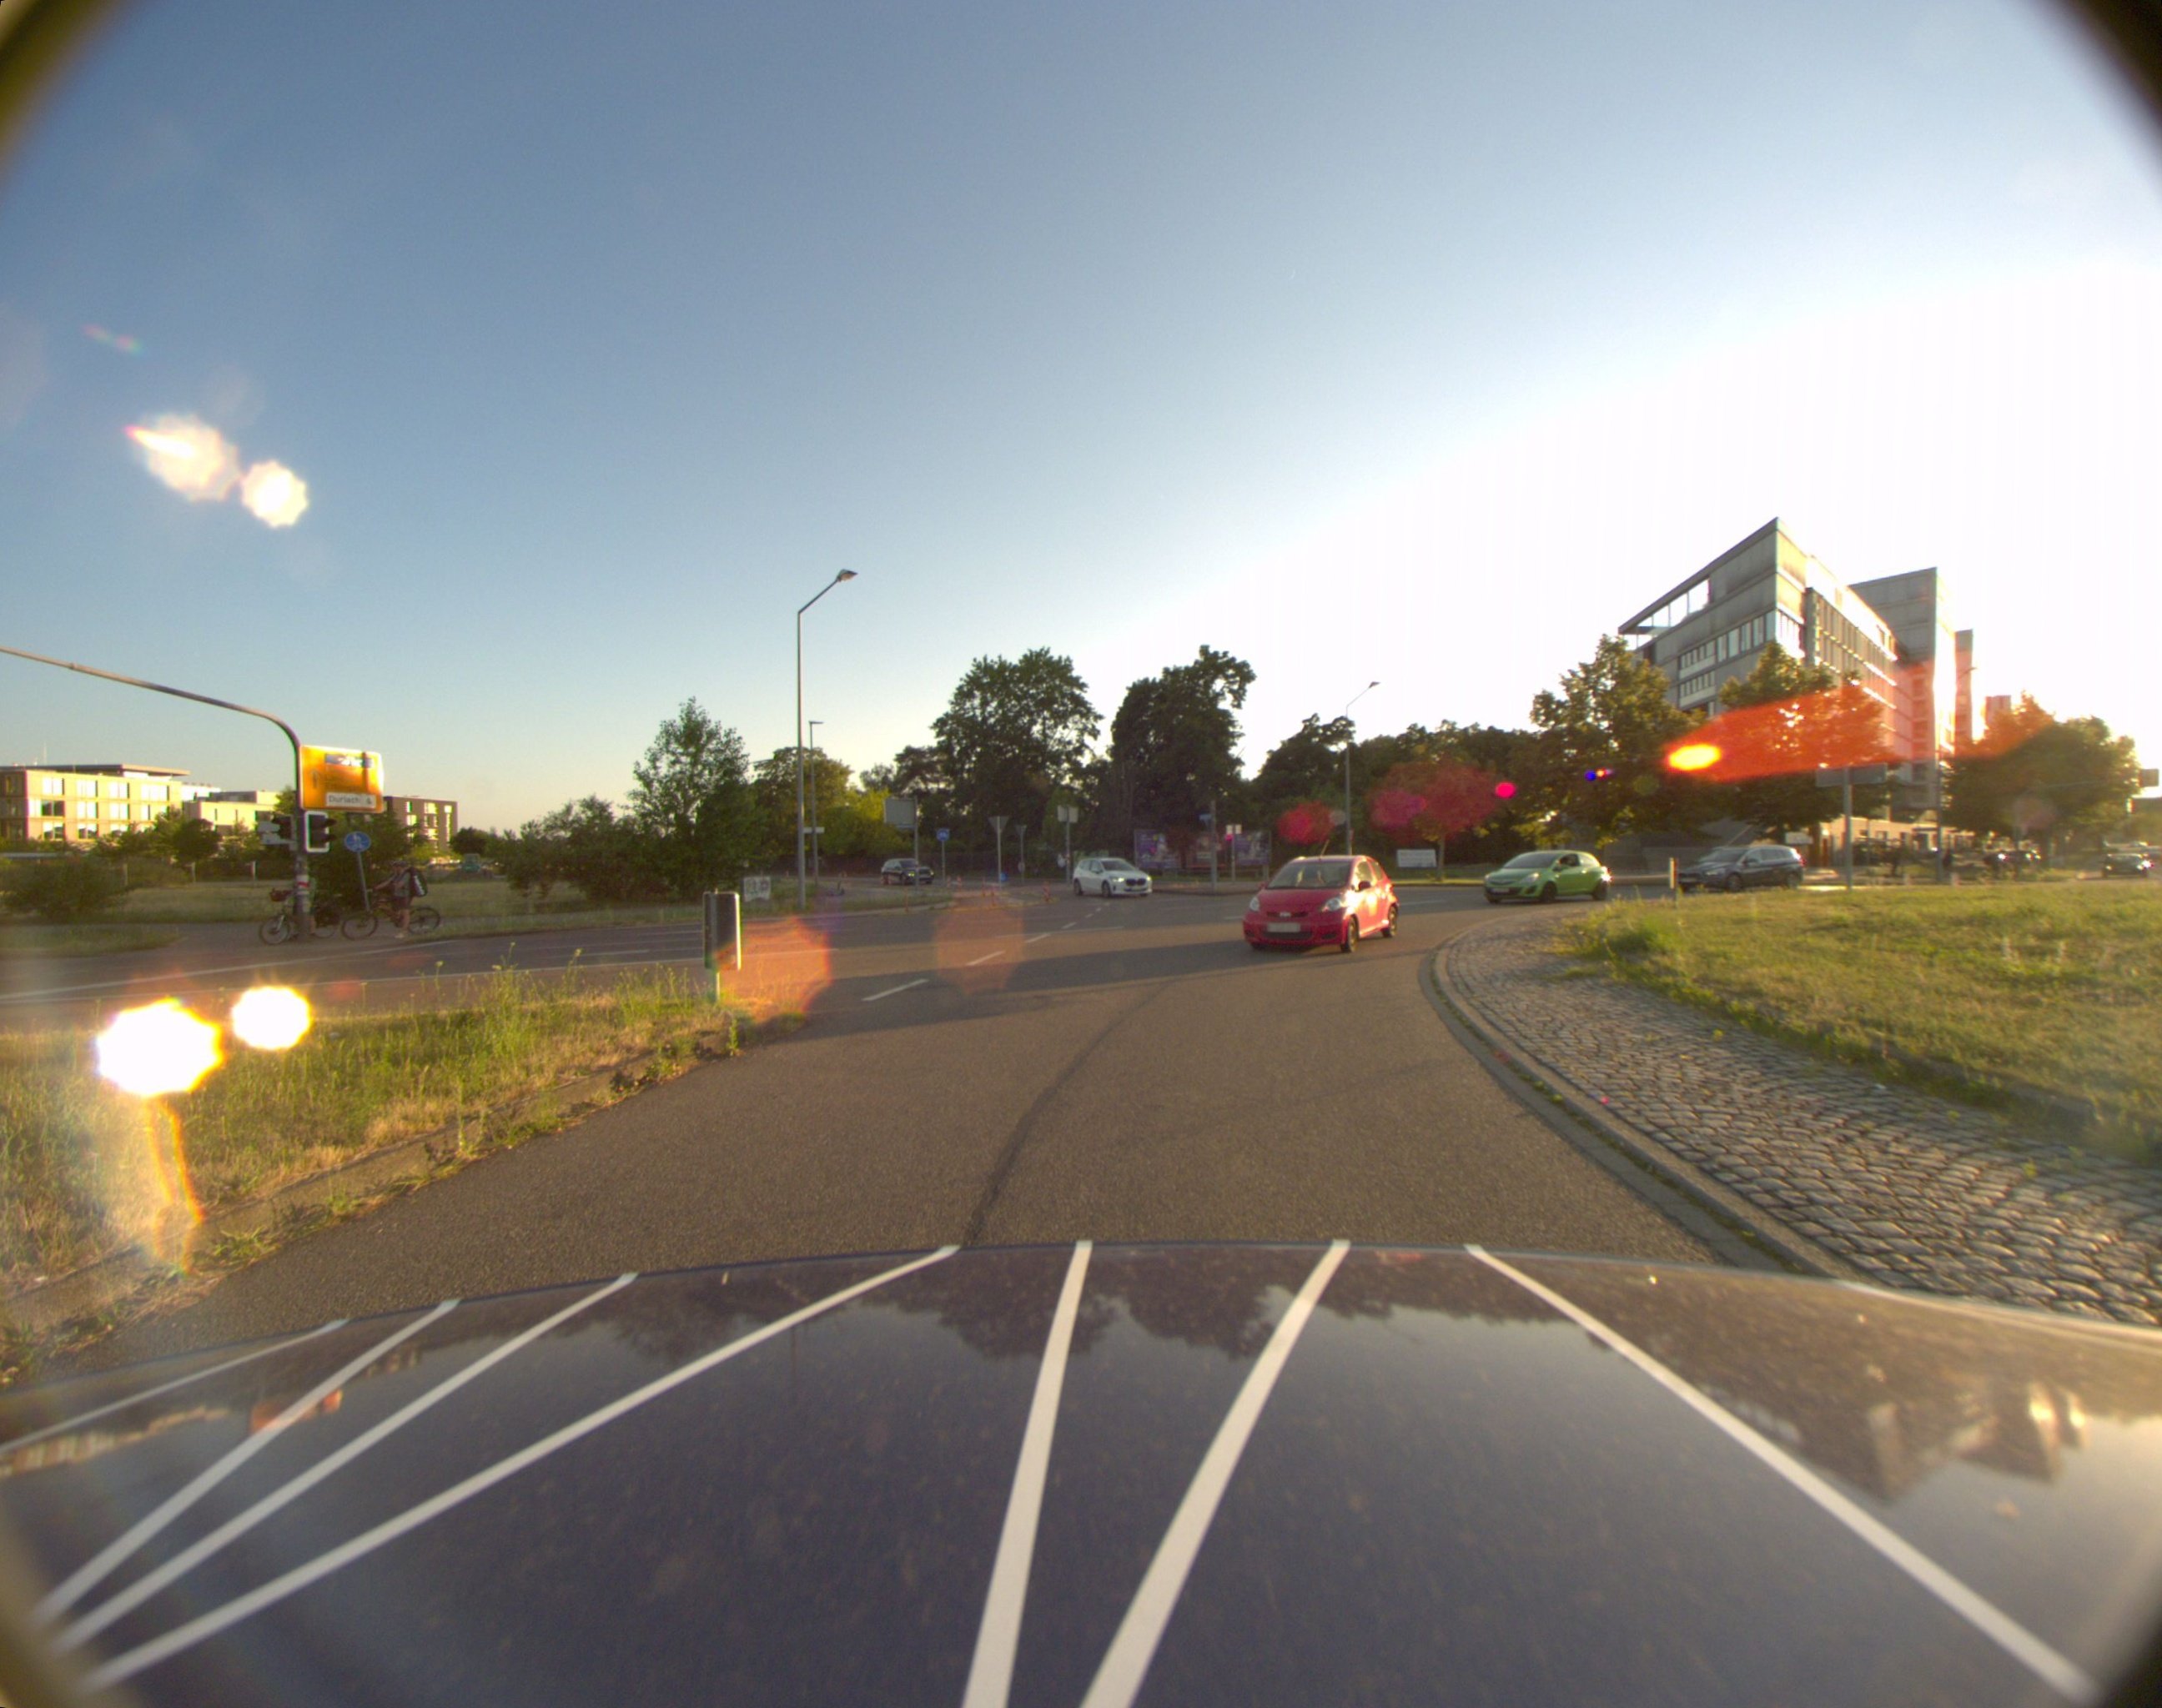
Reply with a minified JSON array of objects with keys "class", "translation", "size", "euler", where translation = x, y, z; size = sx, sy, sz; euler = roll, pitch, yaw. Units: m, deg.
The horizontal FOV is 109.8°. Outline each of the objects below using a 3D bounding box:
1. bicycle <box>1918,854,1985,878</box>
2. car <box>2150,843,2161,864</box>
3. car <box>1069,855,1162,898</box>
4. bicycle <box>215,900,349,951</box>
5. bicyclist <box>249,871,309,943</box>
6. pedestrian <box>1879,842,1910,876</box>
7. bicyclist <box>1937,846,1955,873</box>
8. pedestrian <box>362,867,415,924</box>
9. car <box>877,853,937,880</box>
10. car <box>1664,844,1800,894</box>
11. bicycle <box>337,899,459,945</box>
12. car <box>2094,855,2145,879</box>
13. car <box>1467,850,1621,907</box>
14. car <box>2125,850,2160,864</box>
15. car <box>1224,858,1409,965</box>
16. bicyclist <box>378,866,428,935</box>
[{"class":"bicycle","translation":[47.086,0.625,41.126],"size":[0.744,1.237,2.341],"euler":[-2,1,-41]},{"class":"car","translation":[95.000,-0.026,66.202],"size":[5.316,1.801,1.995],"euler":[0,-2,-37]},{"class":"car","translation":[1.319,0.866,30.994],"size":[2.003,1.597,4.189],"euler":[-1,0,-26]},{"class":"bicycle","translation":[-19.275,1.696,18.409],"size":[0.708,0.958,2.109],"euler":[-1,2,14]},{"class":"bicyclist","translation":[-19.333,1.256,18.322],"size":[0.724,1.680,0.690],"euler":[-1,1,12]},{"class":"pedestrian","translation":[48.436,0.293,45.229],"size":[0.776,2.002,0.998],"euler":[-2,1,-11]},{"class":"bicyclist","translation":[46.974,0.306,41.268],"size":[0.693,1.432,0.610],"euler":[-2,1,-42]},{"class":"pedestrian","translation":[-20.350,1.204,22.352],"size":[0.993,1.581,0.924],"euler":[-1,1,-35]},{"class":"car","translation":[-11.097,0.782,48.279],"size":[2.004,1.588,4.302],"euler":[-1,1,-40]},{"class":"car","translation":[22.538,0.464,26.300],"size":[4.334,1.568,1.731],"euler":[-1,1,-21]},{"class":"bicycle","translation":[-17.164,1.678,19.169],"size":[0.708,0.957,2.149],"euler":[-1,0,26]},{"class":"car","translation":[64.624,0.803,47.321],"size":[4.133,1.371,1.746],"euler":[-1,1,-38]},{"class":"car","translation":[12.968,0.632,21.268],"size":[4.004,1.412,1.686],"euler":[-1,1,-23]},{"class":"car","translation":[115.052,0.311,82.369],"size":[4.008,1.444,1.994],"euler":[-1,1,-39]},{"class":"car","translation":[4.066,0.826,12.685],"size":[1.685,1.412,4.008],"euler":[-1,1,37]},{"class":"bicyclist","translation":[-17.148,1.164,19.230],"size":[0.723,1.680,0.690],"euler":[-1,1,28]}]
